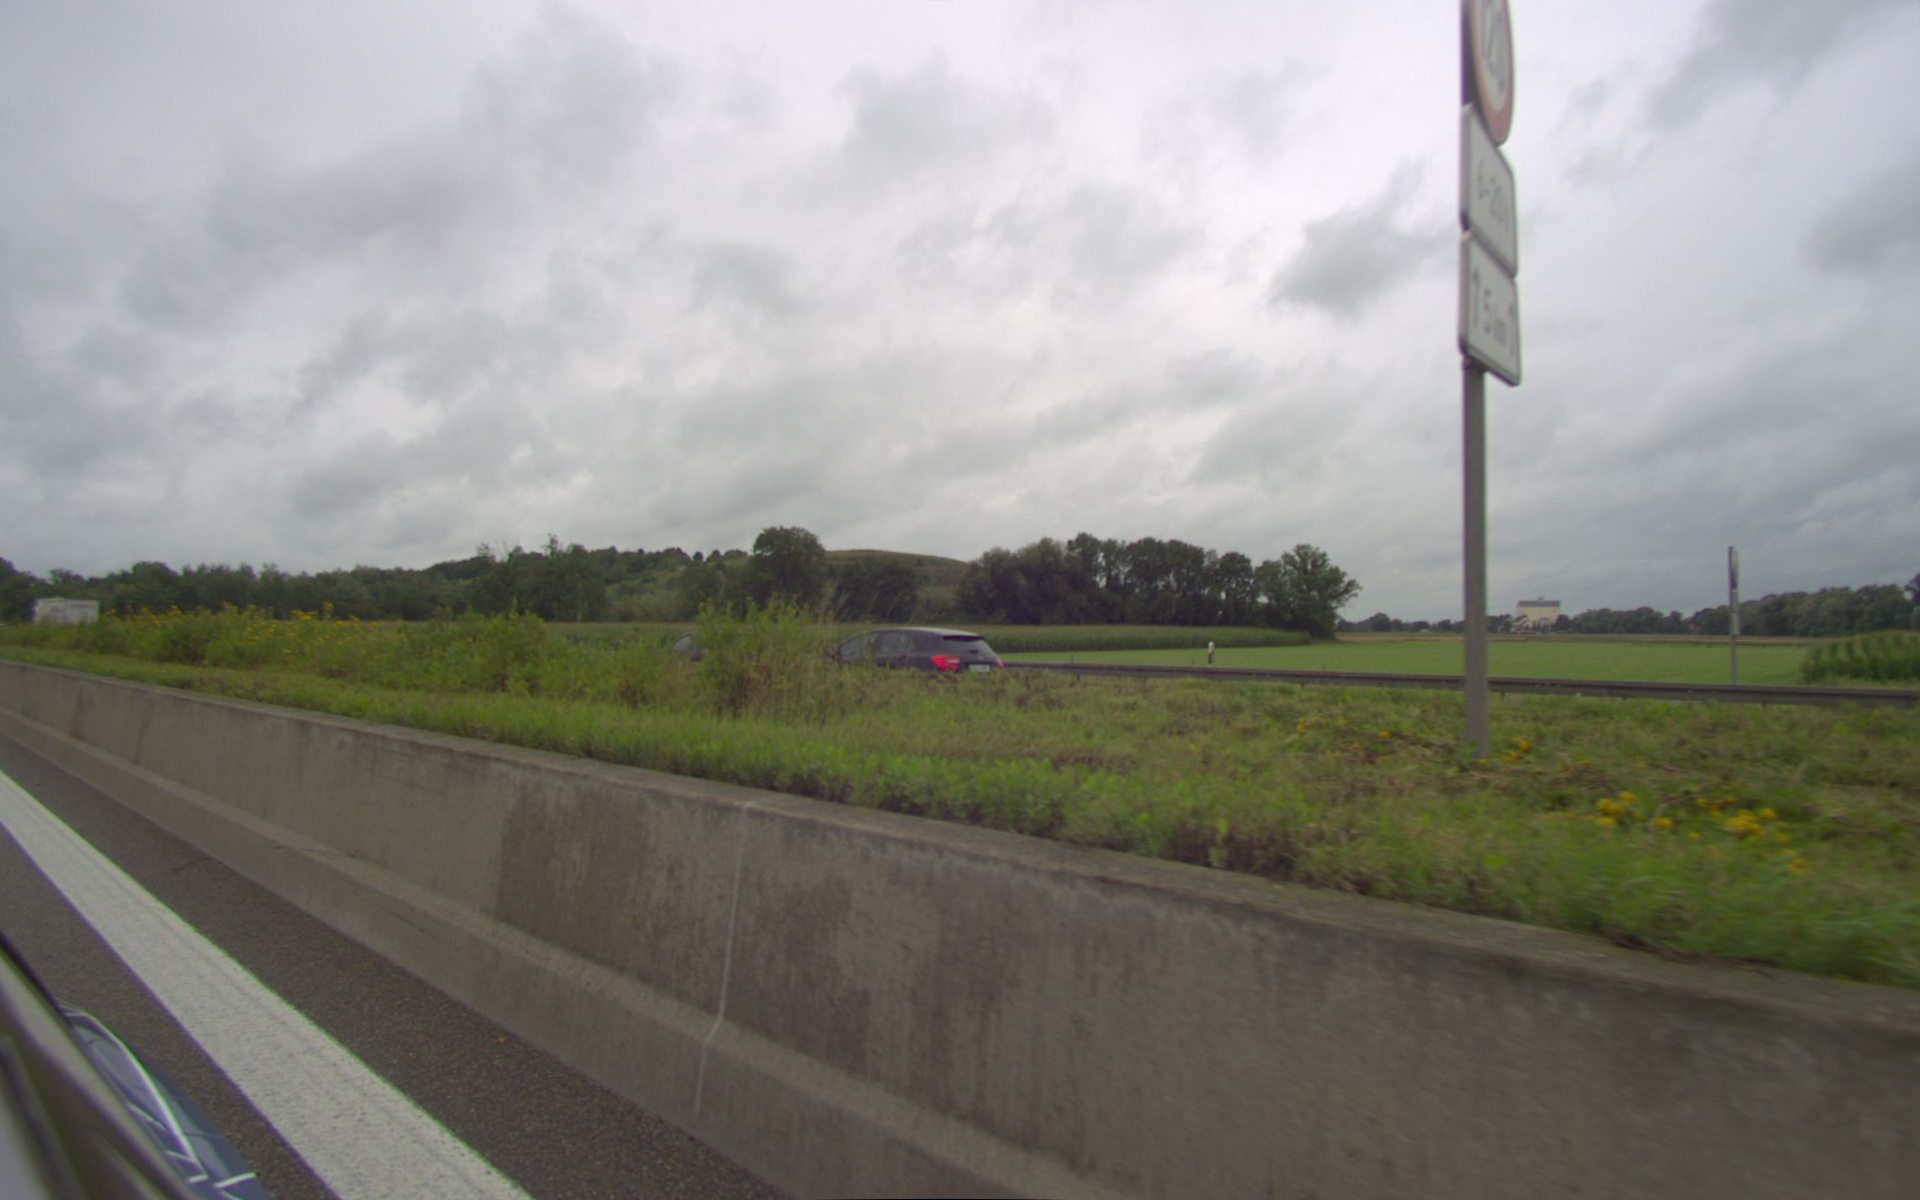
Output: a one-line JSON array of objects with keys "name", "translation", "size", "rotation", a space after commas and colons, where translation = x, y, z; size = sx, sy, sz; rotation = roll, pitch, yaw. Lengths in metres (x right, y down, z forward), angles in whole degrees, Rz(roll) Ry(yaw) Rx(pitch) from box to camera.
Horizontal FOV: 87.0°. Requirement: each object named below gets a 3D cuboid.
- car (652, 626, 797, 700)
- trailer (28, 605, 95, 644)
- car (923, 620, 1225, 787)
[{"name": "car", "translation": [-6.194, 1.605, 26.448], "size": [3.859, 1.788, 1.780], "rotation": [-2, -3, 41]}, {"name": "trailer", "translation": [-84.812, 2.244, 95.410], "size": [13.232, 3.454, 2.885], "rotation": [-1, 0, 41]}, {"name": "car", "translation": [1.544, 1.335, 14.553], "size": [3.998, 2.029, 1.799], "rotation": [-2, -1, 42]}]
